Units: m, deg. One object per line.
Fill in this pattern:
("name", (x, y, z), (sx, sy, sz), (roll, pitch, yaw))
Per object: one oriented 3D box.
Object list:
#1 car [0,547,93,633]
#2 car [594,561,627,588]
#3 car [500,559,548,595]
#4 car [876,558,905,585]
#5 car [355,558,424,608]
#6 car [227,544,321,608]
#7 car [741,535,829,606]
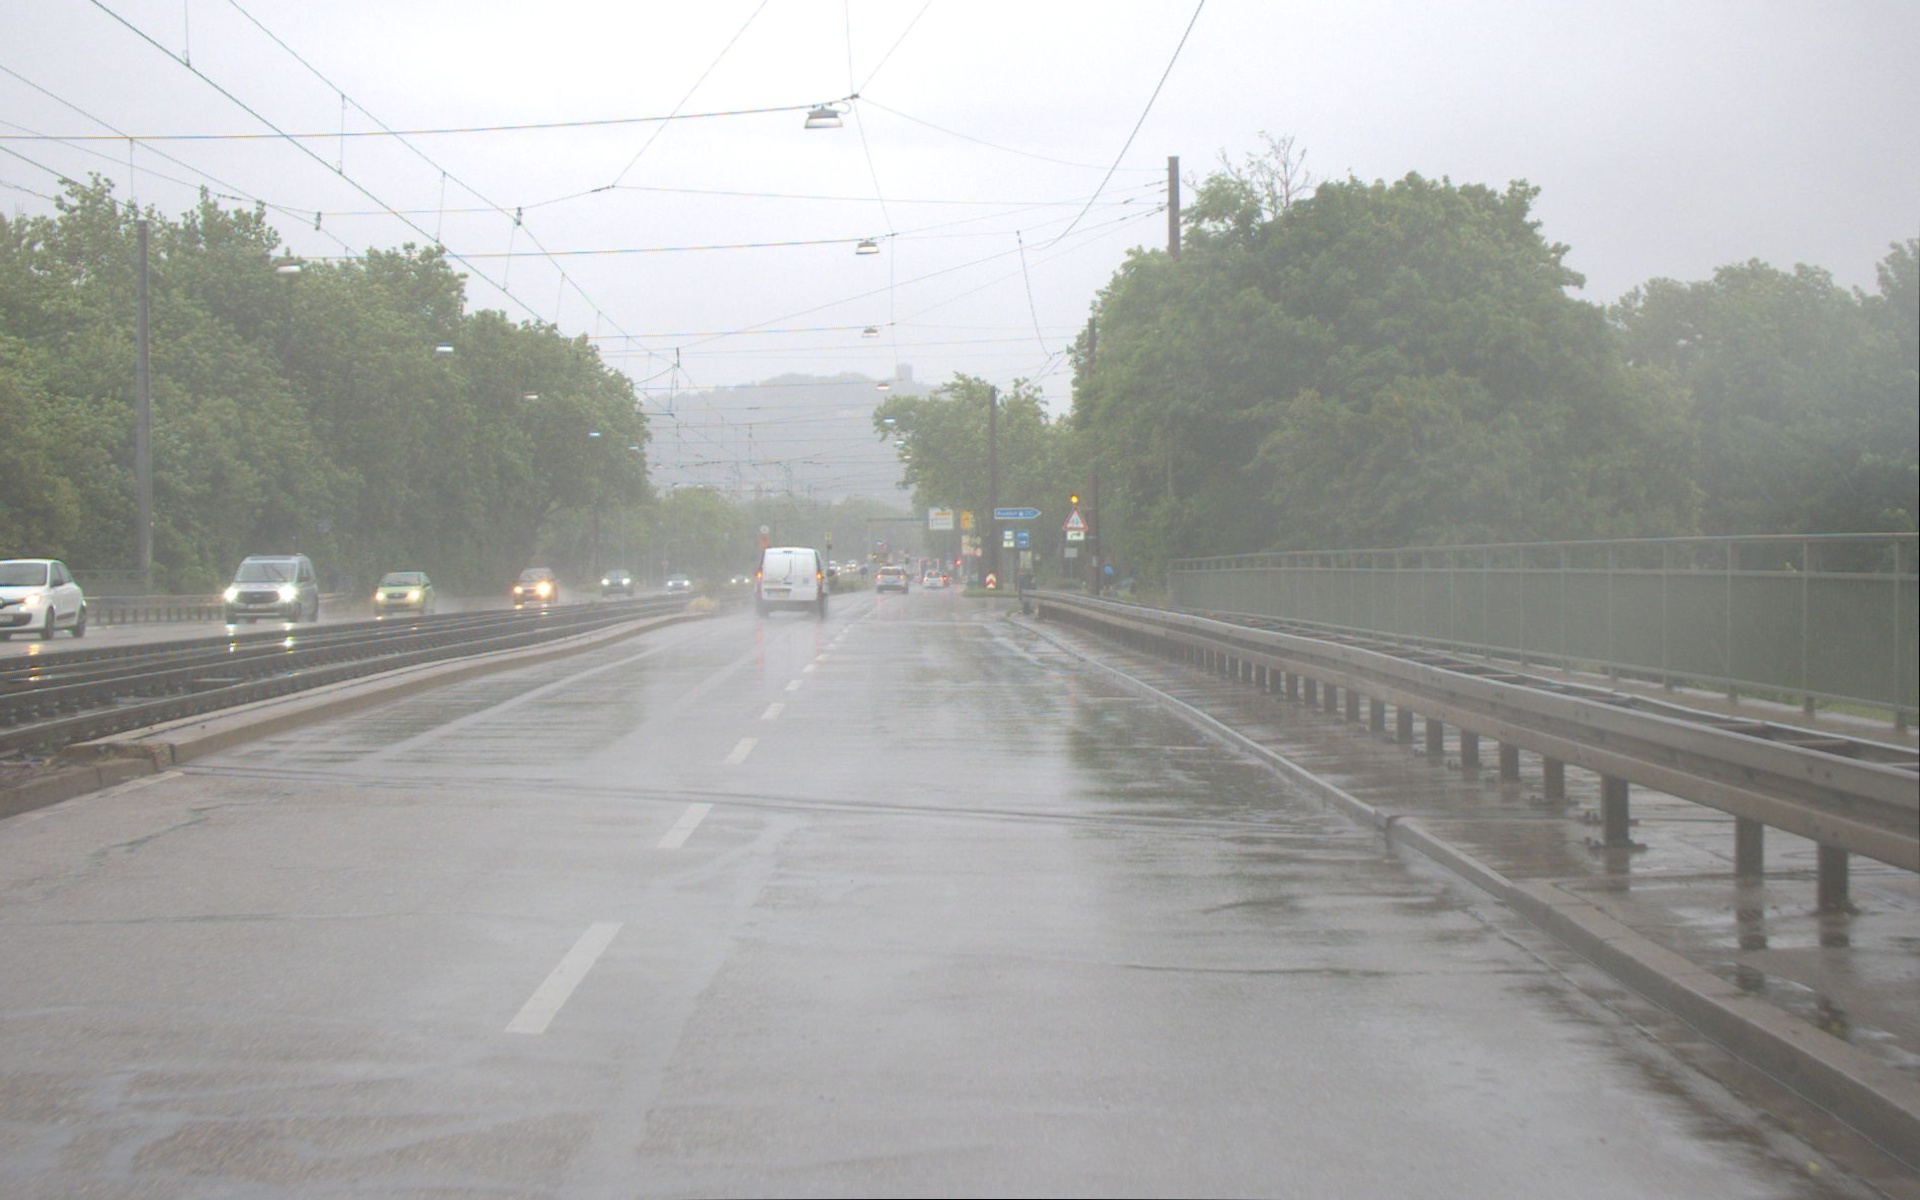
("car", (-17.862, -0.206, 65.645), (1.743, 1.503, 3.700), (1, 2, -1))
("car", (-21.507, -1.575, 211.597), (1.743, 1.503, 3.700), (1, 2, -1))
("car", (-19.289, -1.026, 152.124), (1.743, 1.503, 3.700), (1, 2, -1))
("car", (-4.213, -1.737, 209.064), (1.743, 1.503, 3.700), (1, 2, -1))
("car", (-18.846, -0.575, 113.706), (1.743, 1.503, 3.700), (1, 2, -1))
("car", (-17.550, -0.633, 88.107), (1.743, 1.503, 3.700), (1, 2, -1))
("car", (-4.453, -0.770, 87.909), (1.989, 1.678, 3.740), (1, 2, 1))
